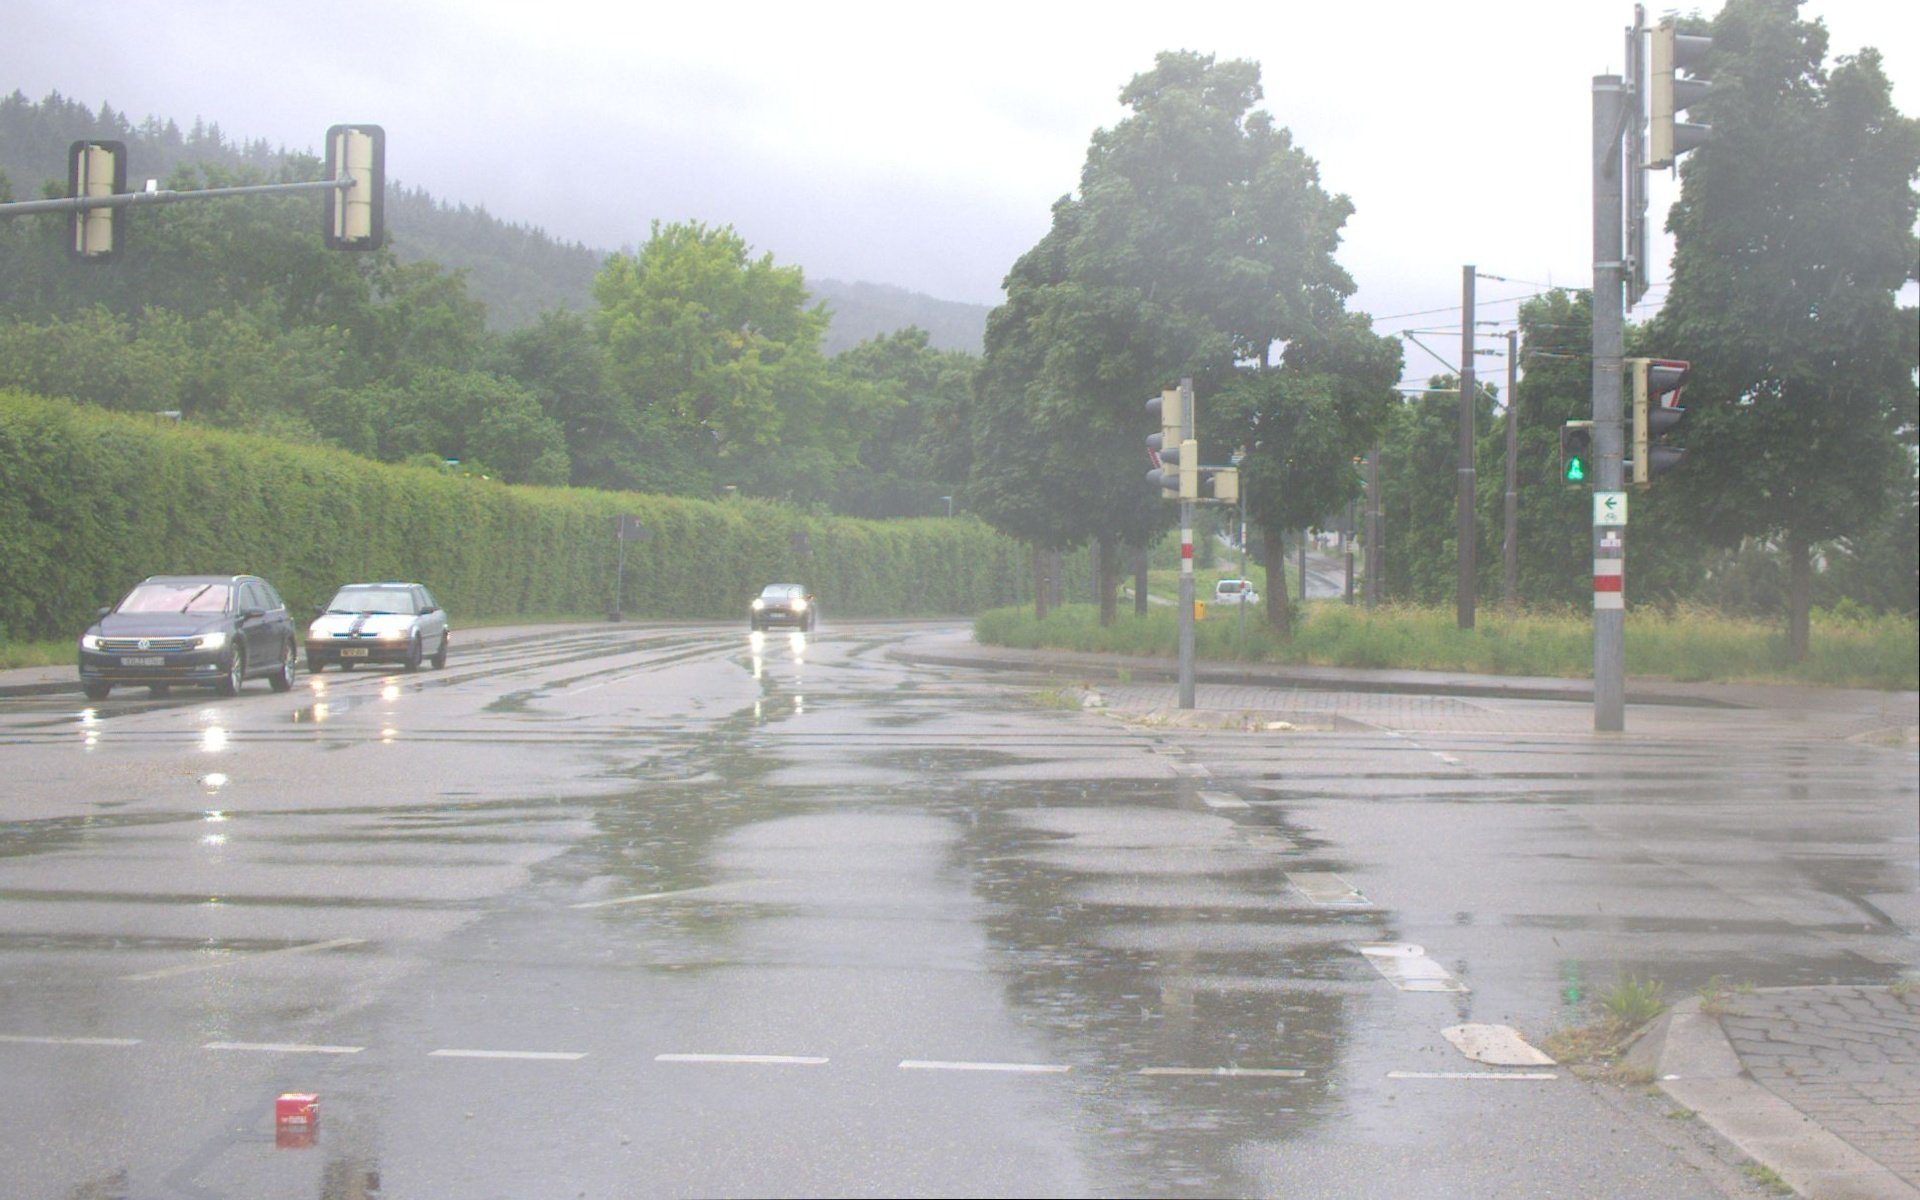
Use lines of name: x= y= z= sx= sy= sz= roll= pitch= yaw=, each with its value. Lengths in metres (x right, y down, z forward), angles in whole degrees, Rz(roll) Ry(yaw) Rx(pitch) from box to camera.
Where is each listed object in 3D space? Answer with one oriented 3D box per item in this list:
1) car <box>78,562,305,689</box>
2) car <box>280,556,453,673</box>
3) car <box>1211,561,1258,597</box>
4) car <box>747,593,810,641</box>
car: x=-9.344 y=0.271 z=42.143 sx=1.708 sy=1.461 sz=4.453 roll=0 pitch=1 yaw=1
car: x=-9.232 y=0.198 z=53.745 sx=2.036 sy=1.702 sz=4.066 roll=1 pitch=1 yaw=-1
car: x=15.114 y=-1.164 z=189.039 sx=1.954 sy=1.897 sz=4.118 roll=0 pitch=1 yaw=13
car: x=-5.818 y=0.562 z=110.641 sx=1.785 sy=1.500 sz=4.060 roll=0 pitch=-1 yaw=0
